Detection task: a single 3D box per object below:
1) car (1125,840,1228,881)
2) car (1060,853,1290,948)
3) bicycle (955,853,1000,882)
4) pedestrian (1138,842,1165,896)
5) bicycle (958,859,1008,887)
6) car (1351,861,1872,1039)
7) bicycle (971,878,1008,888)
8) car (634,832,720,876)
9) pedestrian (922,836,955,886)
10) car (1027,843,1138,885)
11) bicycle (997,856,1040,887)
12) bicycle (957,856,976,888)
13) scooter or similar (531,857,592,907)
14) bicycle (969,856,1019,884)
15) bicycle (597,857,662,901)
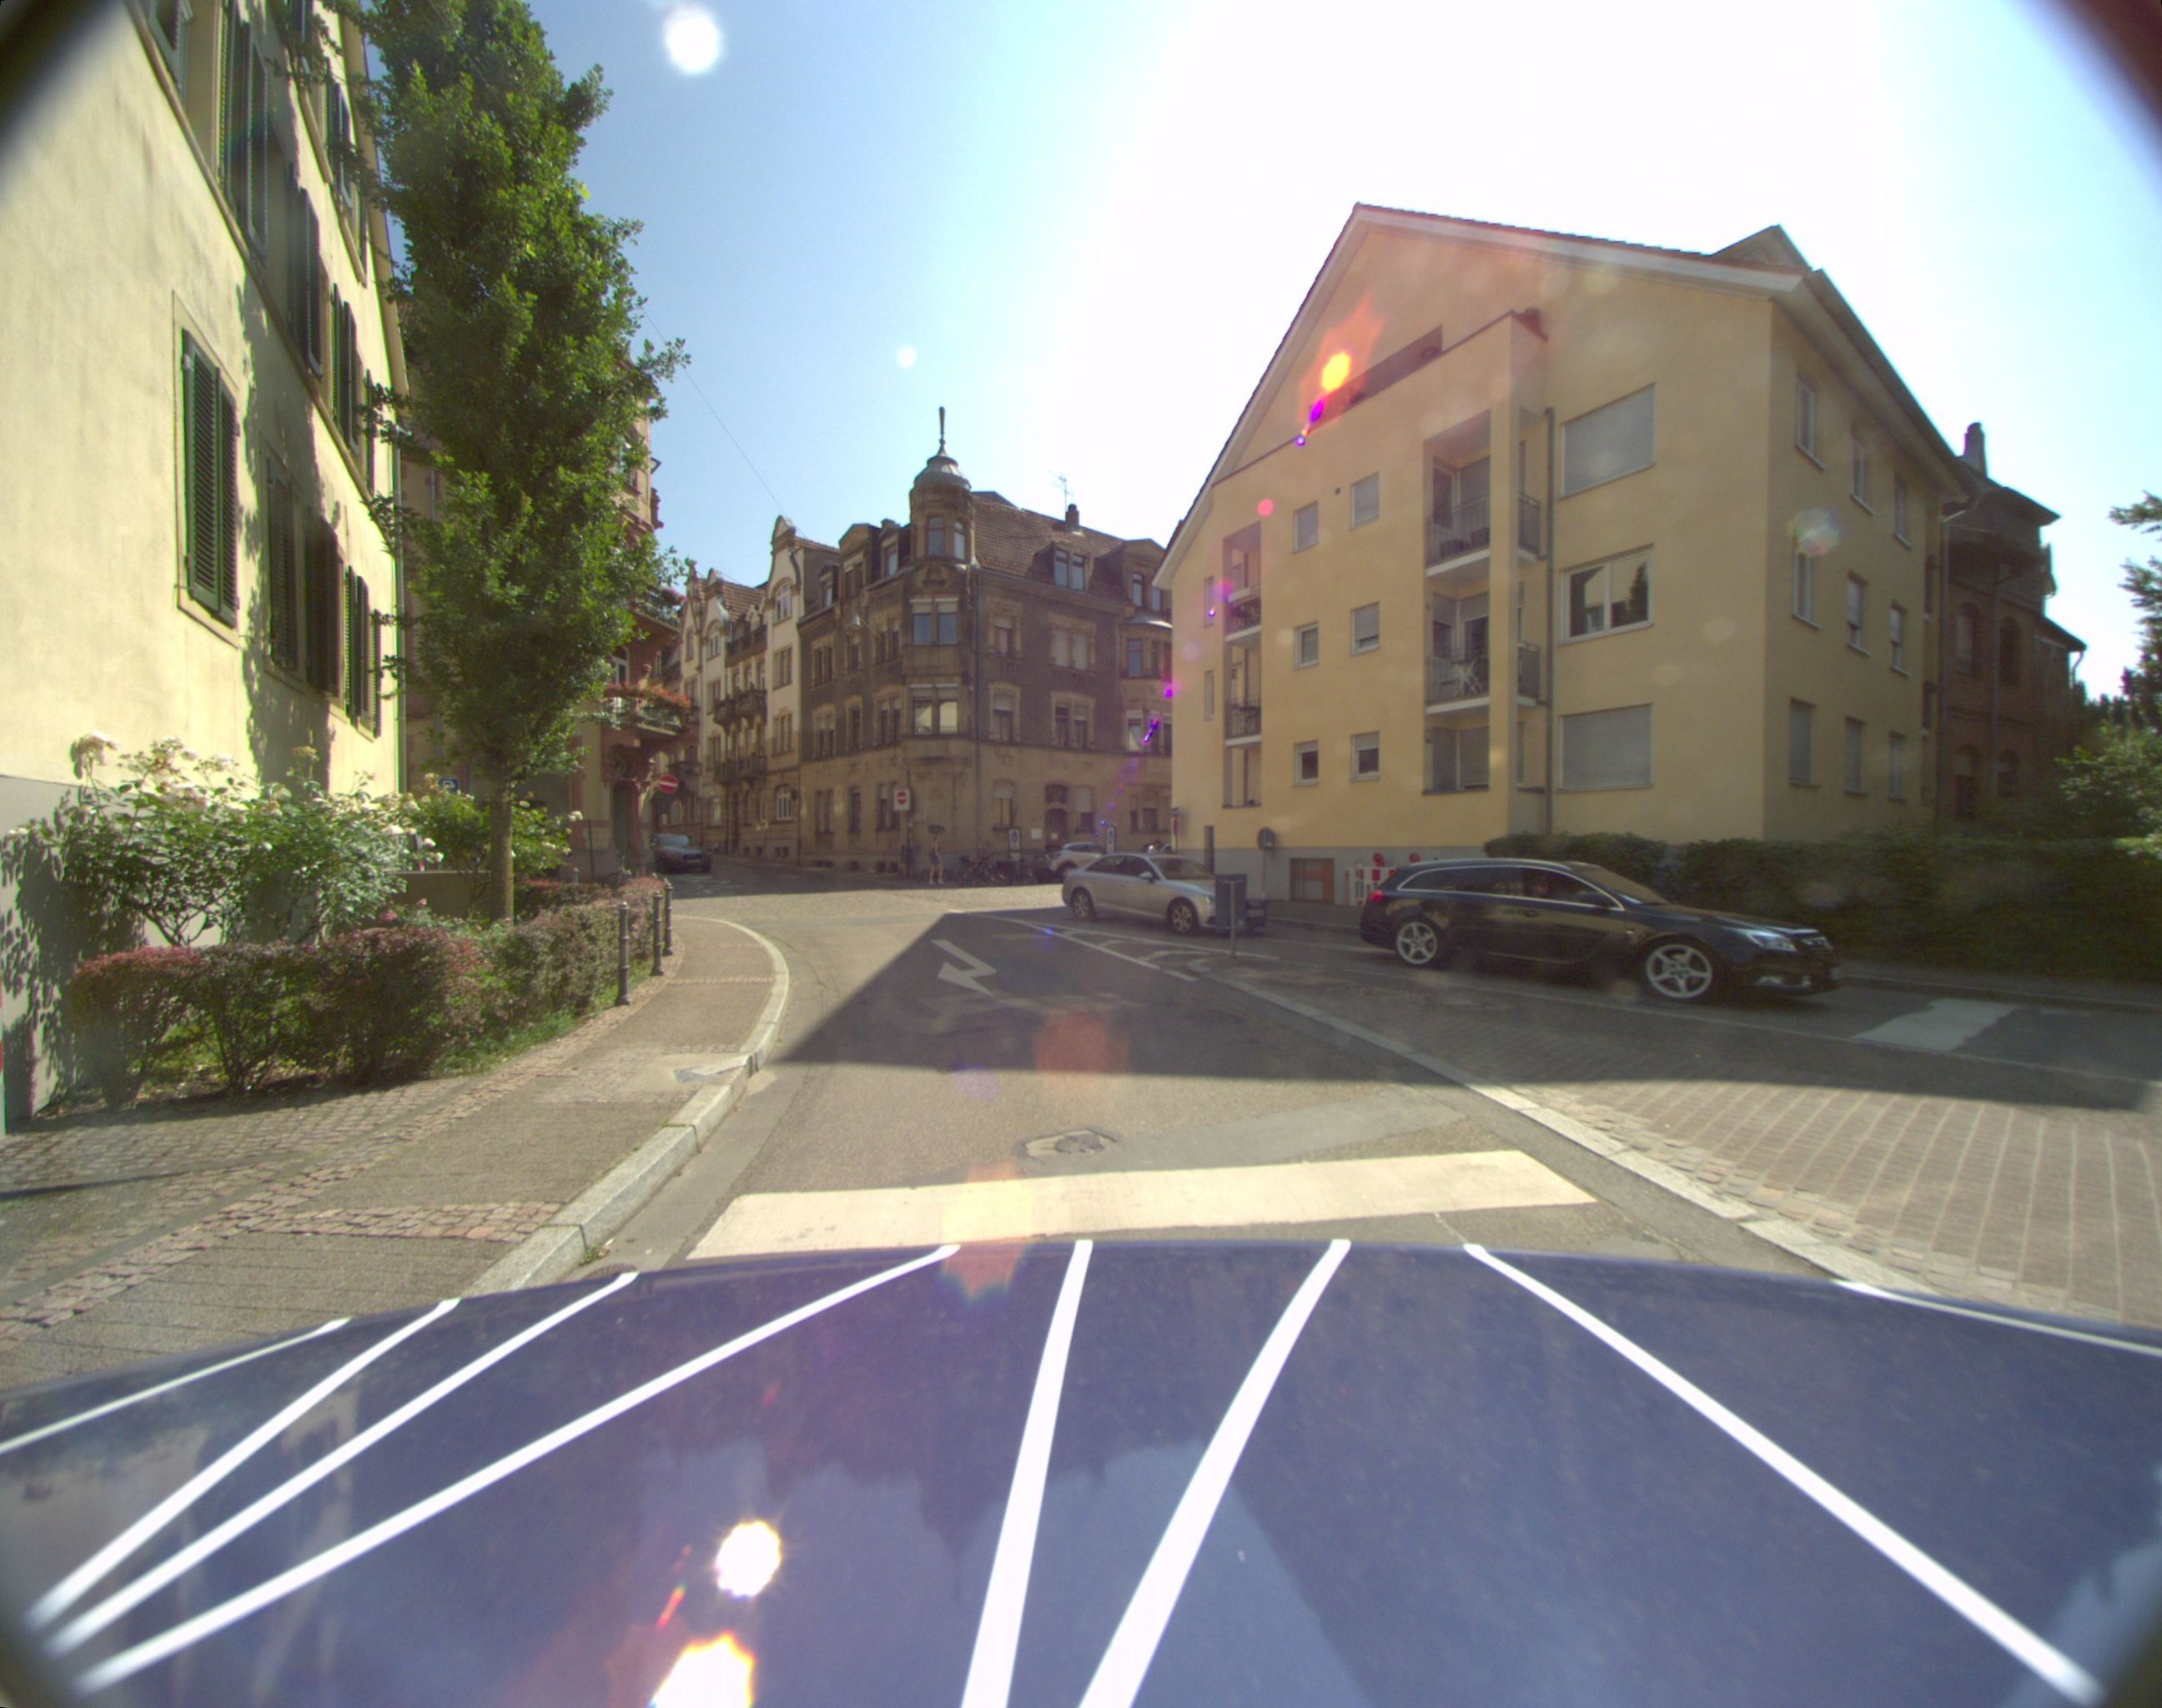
[{"bbox_3d":[3.998,0.247,31.618,4.007,1.535,1.848,-2,1,-34],"label":"car"},{"bbox_3d":[1.642,0.755,14.665,1.881,1.484,4.370,-1,1,-37],"label":"car"},{"bbox_3d":[-3.982,0.504,29.350,1.645,1.080,0.494,0,5,-35],"label":"bicycle"},{"bbox_3d":[2.140,0.454,23.020,0.658,1.609,0.492,-1,2,-23],"label":"pedestrian"},{"bbox_3d":[-3.534,0.664,27.324,1.637,1.084,0.285,2,46,44],"label":"bicycle"},{"bbox_3d":[5.808,0.871,8.977,1.723,1.453,4.711,2,0,-37],"label":"car"},{"bbox_3d":[-3.257,1.036,27.049,1.079,0.286,1.121,0,1,-21],"label":"bicycle"},{"bbox_3d":[-16.598,-0.068,31.127,4.246,1.574,1.866,3,5,44],"label":"car"},{"bbox_3d":[-5.199,0.251,27.649,0.982,1.749,0.621,-2,5,-36],"label":"pedestrian"},{"bbox_3d":[0.092,0.343,29.316,3.936,1.535,1.847,-1,1,-36],"label":"car"},{"bbox_3d":[-2.271,0.628,27.461,1.638,1.079,0.286,-2,-2,27],"label":"bicycle"},{"bbox_3d":[-4.072,0.618,26.963,0.286,1.080,1.639,-4,2,-21],"label":"bicycle"},{"bbox_3d":[-13.188,0.697,19.316,0.441,1.228,1.193,1,1,41],"label":"scooter or similar"},{"bbox_3d":[-3.177,0.591,27.669,1.637,1.084,0.285,2,46,44],"label":"bicycle"},{"bbox_3d":[-12.400,0.684,20.866,1.789,1.140,0.506,1,1,19],"label":"bicycle"}]
